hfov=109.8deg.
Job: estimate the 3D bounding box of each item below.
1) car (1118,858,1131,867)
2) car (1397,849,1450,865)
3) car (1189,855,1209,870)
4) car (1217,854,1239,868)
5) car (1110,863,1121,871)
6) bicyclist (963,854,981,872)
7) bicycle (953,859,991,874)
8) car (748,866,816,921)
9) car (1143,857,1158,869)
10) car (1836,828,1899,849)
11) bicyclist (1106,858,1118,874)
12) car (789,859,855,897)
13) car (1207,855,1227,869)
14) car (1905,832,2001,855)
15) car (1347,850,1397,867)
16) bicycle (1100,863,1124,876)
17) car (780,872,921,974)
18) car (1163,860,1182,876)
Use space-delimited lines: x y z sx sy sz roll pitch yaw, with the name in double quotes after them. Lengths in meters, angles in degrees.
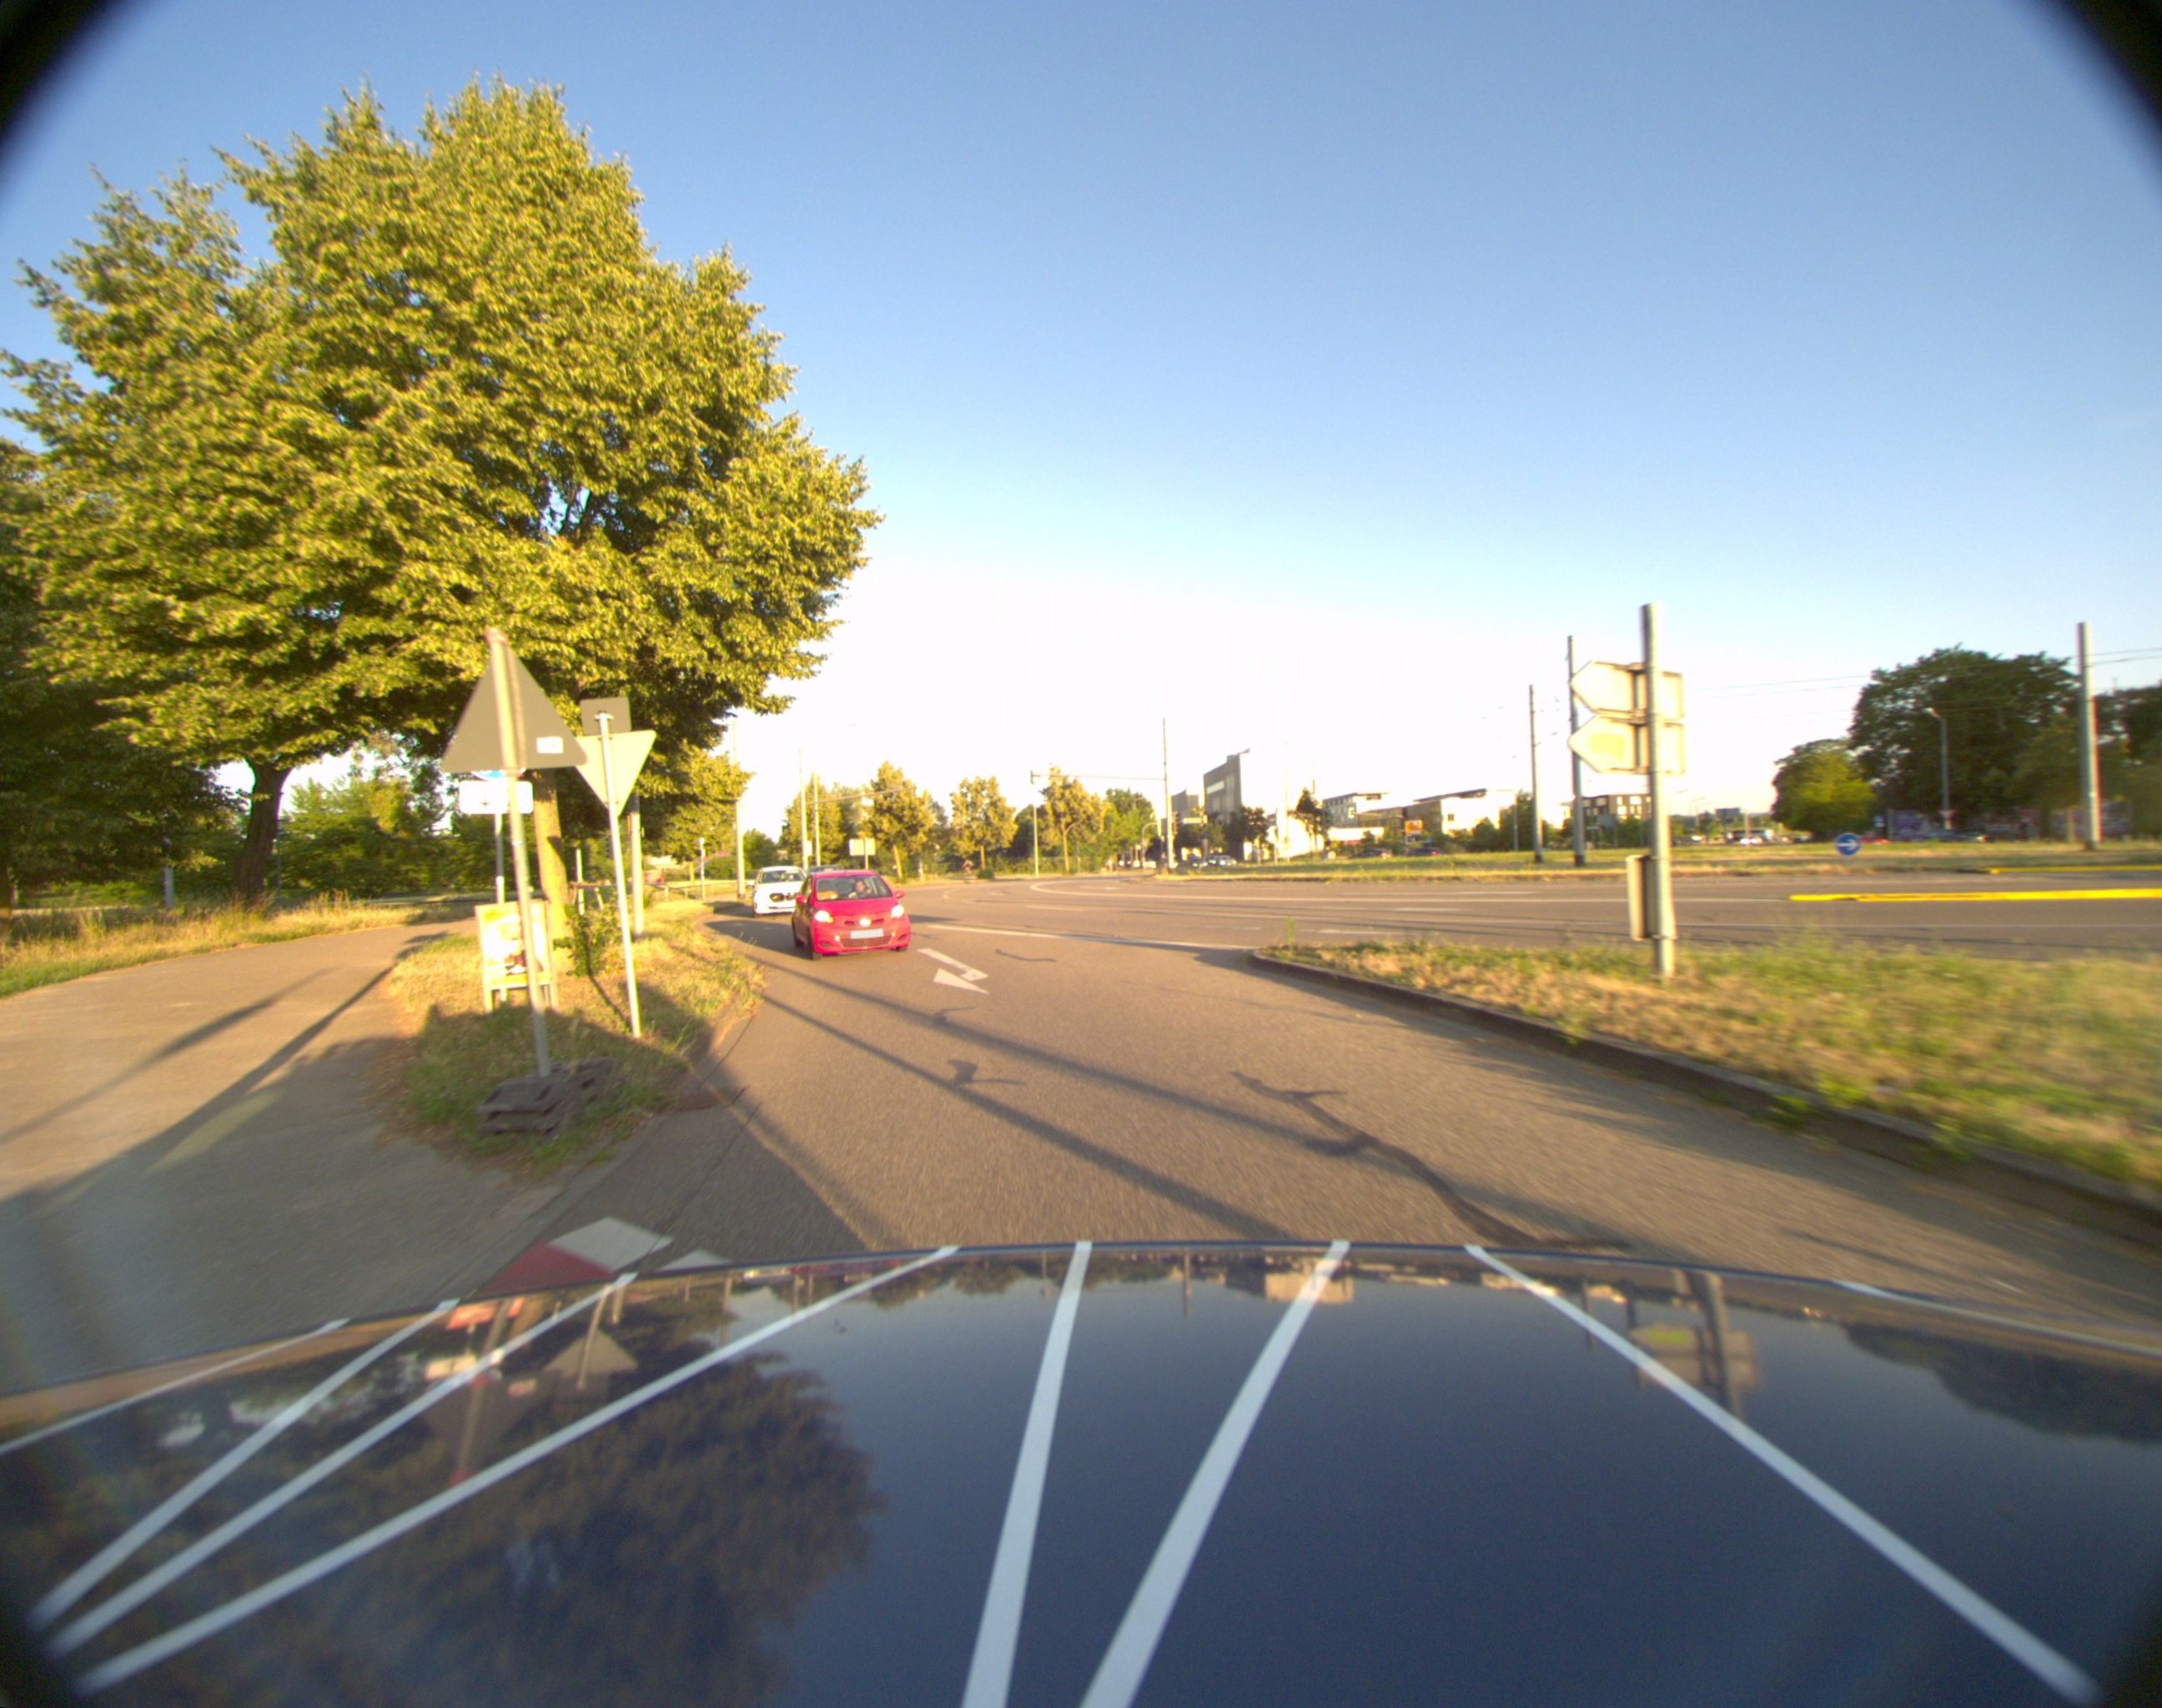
8.112 1.570 142.590 1.873 1.616 4.190 -2 0 -5 "car"
33.922 0.295 75.311 1.948 1.423 4.392 -2 -1 -40 "car"
14.306 1.028 92.127 1.871 1.616 4.193 -2 0 2 "car"
17.557 0.797 90.766 1.871 1.616 4.193 -2 0 2 "car"
7.409 2.729 164.147 1.872 1.616 4.191 -2 0 -5 "car"
-11.030 0.949 77.072 1.415 1.739 1.125 -2 1 13 "bicyclist"
-11.061 1.266 77.087 3.533 1.387 1.125 -2 0 13 "bicycle"
-9.560 1.215 24.540 1.761 1.549 4.209 -2 -1 -19 "car"
10.549 1.377 115.358 1.872 1.616 4.192 -2 0 0 "car"
61.382 -1.183 59.399 1.940 1.423 4.603 -2 -1 26 "car"
3.249 1.274 80.363 1.001 1.623 0.810 -2 0 -13 "bicyclist"
-11.819 1.073 34.965 1.828 1.549 4.213 -2 -1 -4 "car"
17.358 0.976 97.208 1.871 1.616 4.193 -2 0 2 "car"
58.888 -0.661 51.429 1.942 1.423 4.324 -2 -1 10 "car"
28.719 0.444 75.191 1.845 1.492 4.244 -2 0 -37 "car"
3.293 1.632 80.382 2.330 1.172 0.810 -2 0 -14 "bicycle"
-4.369 1.111 13.956 1.696 1.413 4.202 -4 1 -27 "car"
11.357 1.732 94.583 1.871 1.739 3.852 -2 0 2 "car"
